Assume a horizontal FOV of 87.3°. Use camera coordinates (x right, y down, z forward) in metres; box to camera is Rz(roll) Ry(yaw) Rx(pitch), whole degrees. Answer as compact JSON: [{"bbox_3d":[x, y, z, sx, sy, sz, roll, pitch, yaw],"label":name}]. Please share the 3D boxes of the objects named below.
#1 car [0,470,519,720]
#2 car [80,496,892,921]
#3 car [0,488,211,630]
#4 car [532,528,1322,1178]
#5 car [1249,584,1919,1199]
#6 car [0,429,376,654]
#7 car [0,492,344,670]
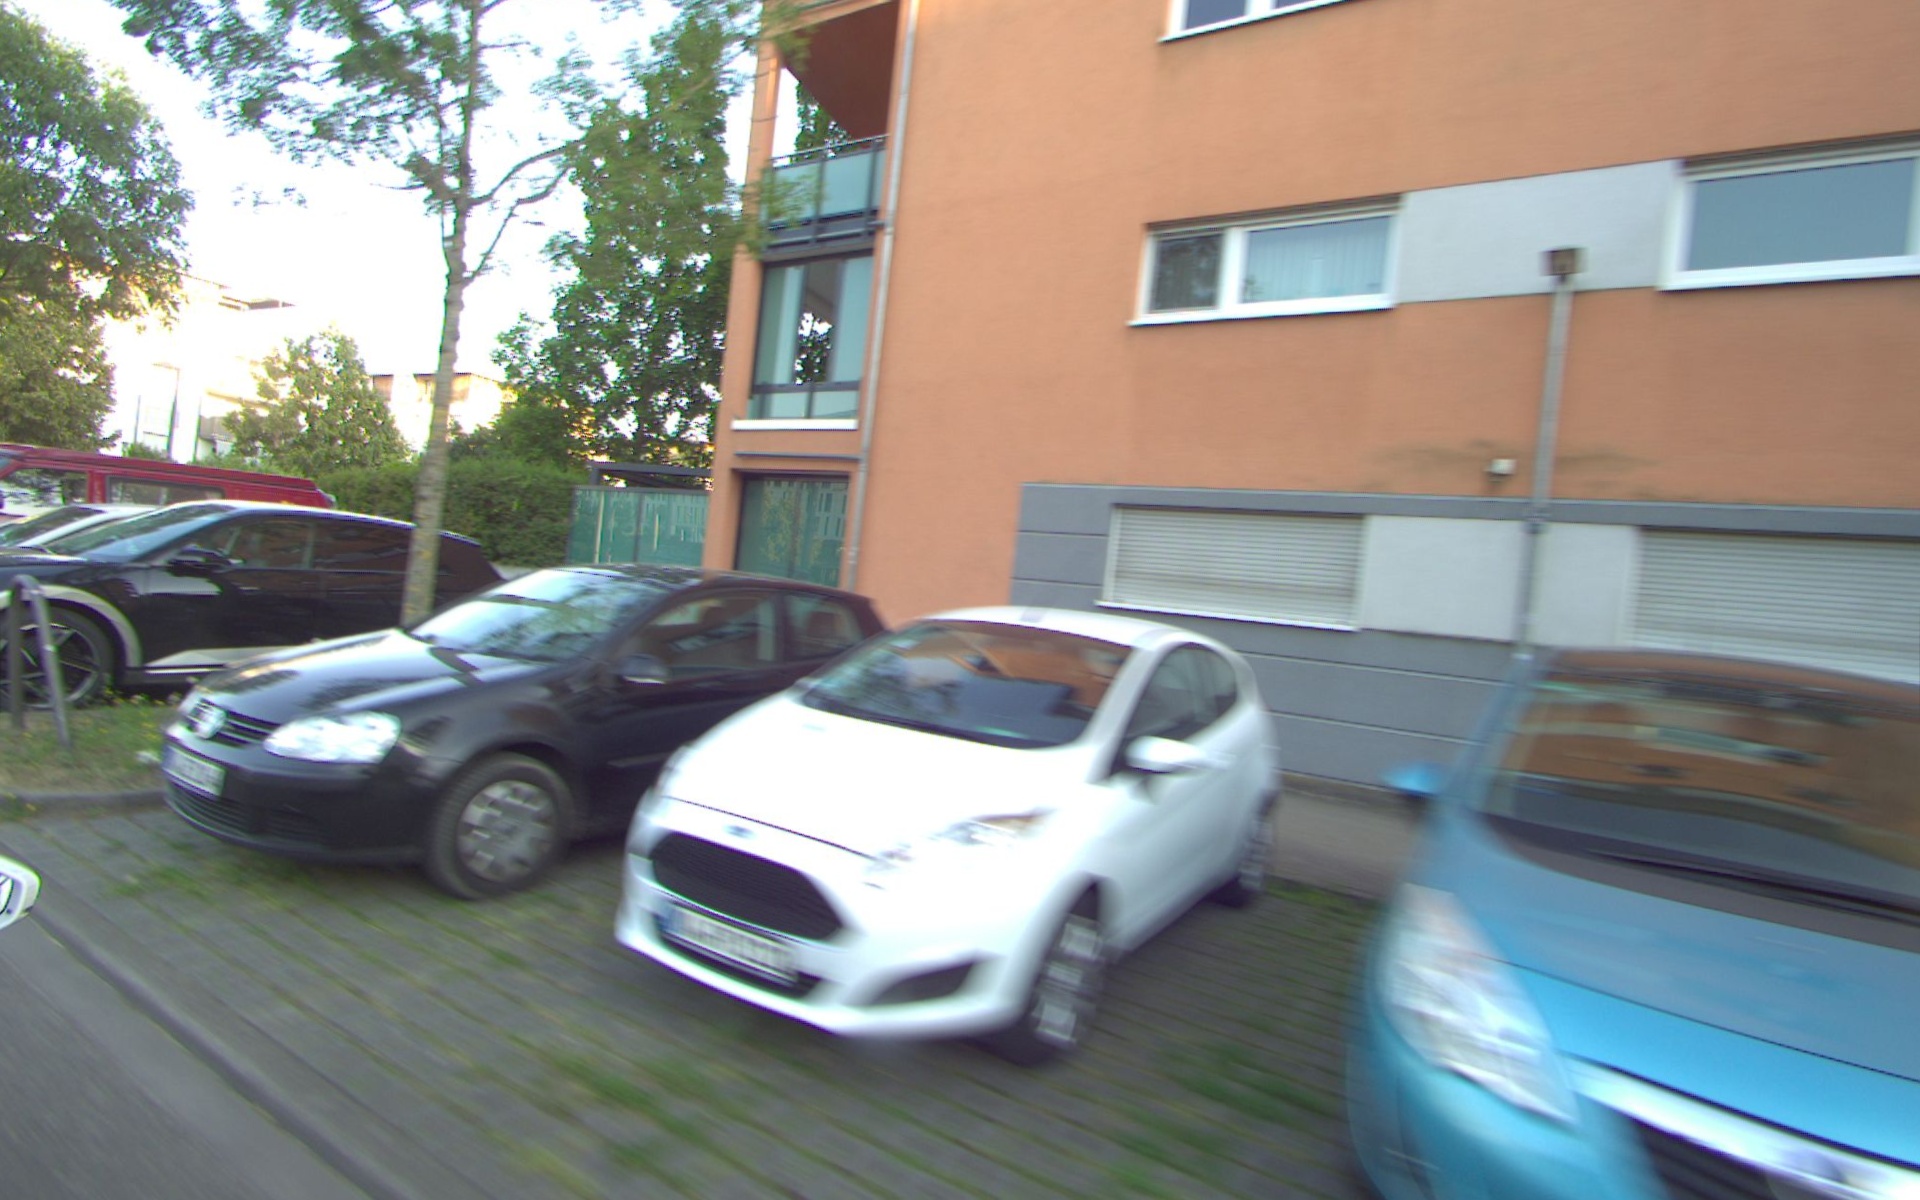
[{"bbox_3d":[-6.036,-0.044,8.090,1.763,1.589,4.216,6,1,33],"label":"car"},{"bbox_3d":[-2.147,0.491,5.585,1.514,1.513,3.778,4,-2,32],"label":"car"},{"bbox_3d":[-12.262,-0.633,12.226,1.782,1.575,4.673,6,-1,33],"label":"car"},{"bbox_3d":[0.315,0.769,4.640,1.593,1.588,3.881,7,-1,33],"label":"car"},{"bbox_3d":[2.396,0.940,3.282,1.645,1.589,4.052,7,1,33],"label":"car"},{"bbox_3d":[-9.827,-0.636,11.535,1.984,2.143,4.923,6,-1,34],"label":"car"},{"bbox_3d":[-8.179,-0.183,9.603,1.589,1.484,3.526,6,1,33],"label":"car"}]
